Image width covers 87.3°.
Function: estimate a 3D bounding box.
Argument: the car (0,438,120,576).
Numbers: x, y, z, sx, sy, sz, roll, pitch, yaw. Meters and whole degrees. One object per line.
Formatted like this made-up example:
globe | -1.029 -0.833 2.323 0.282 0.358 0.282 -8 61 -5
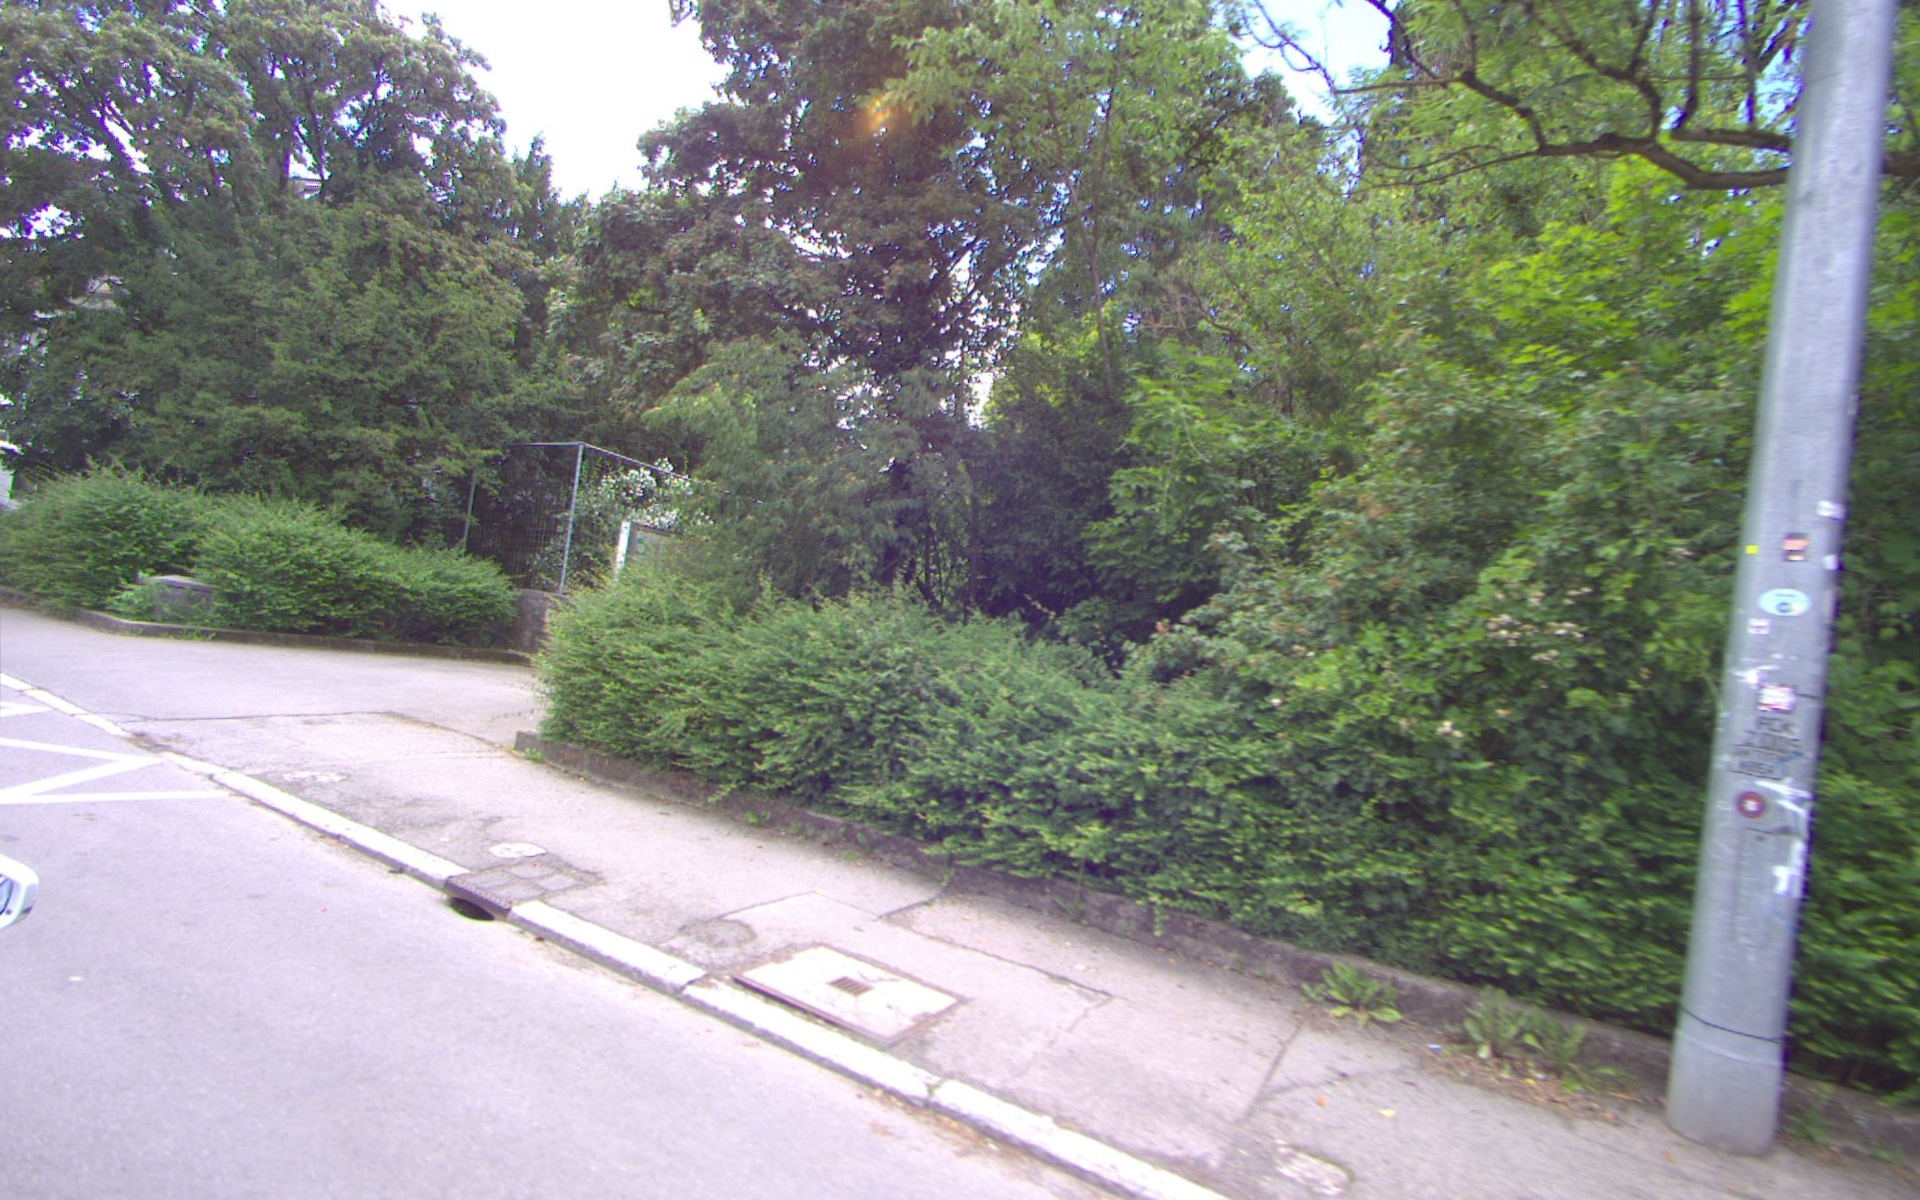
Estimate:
car | -23.121 -2.368 23.646 5.088 2.710 2.510 8 -3 17
